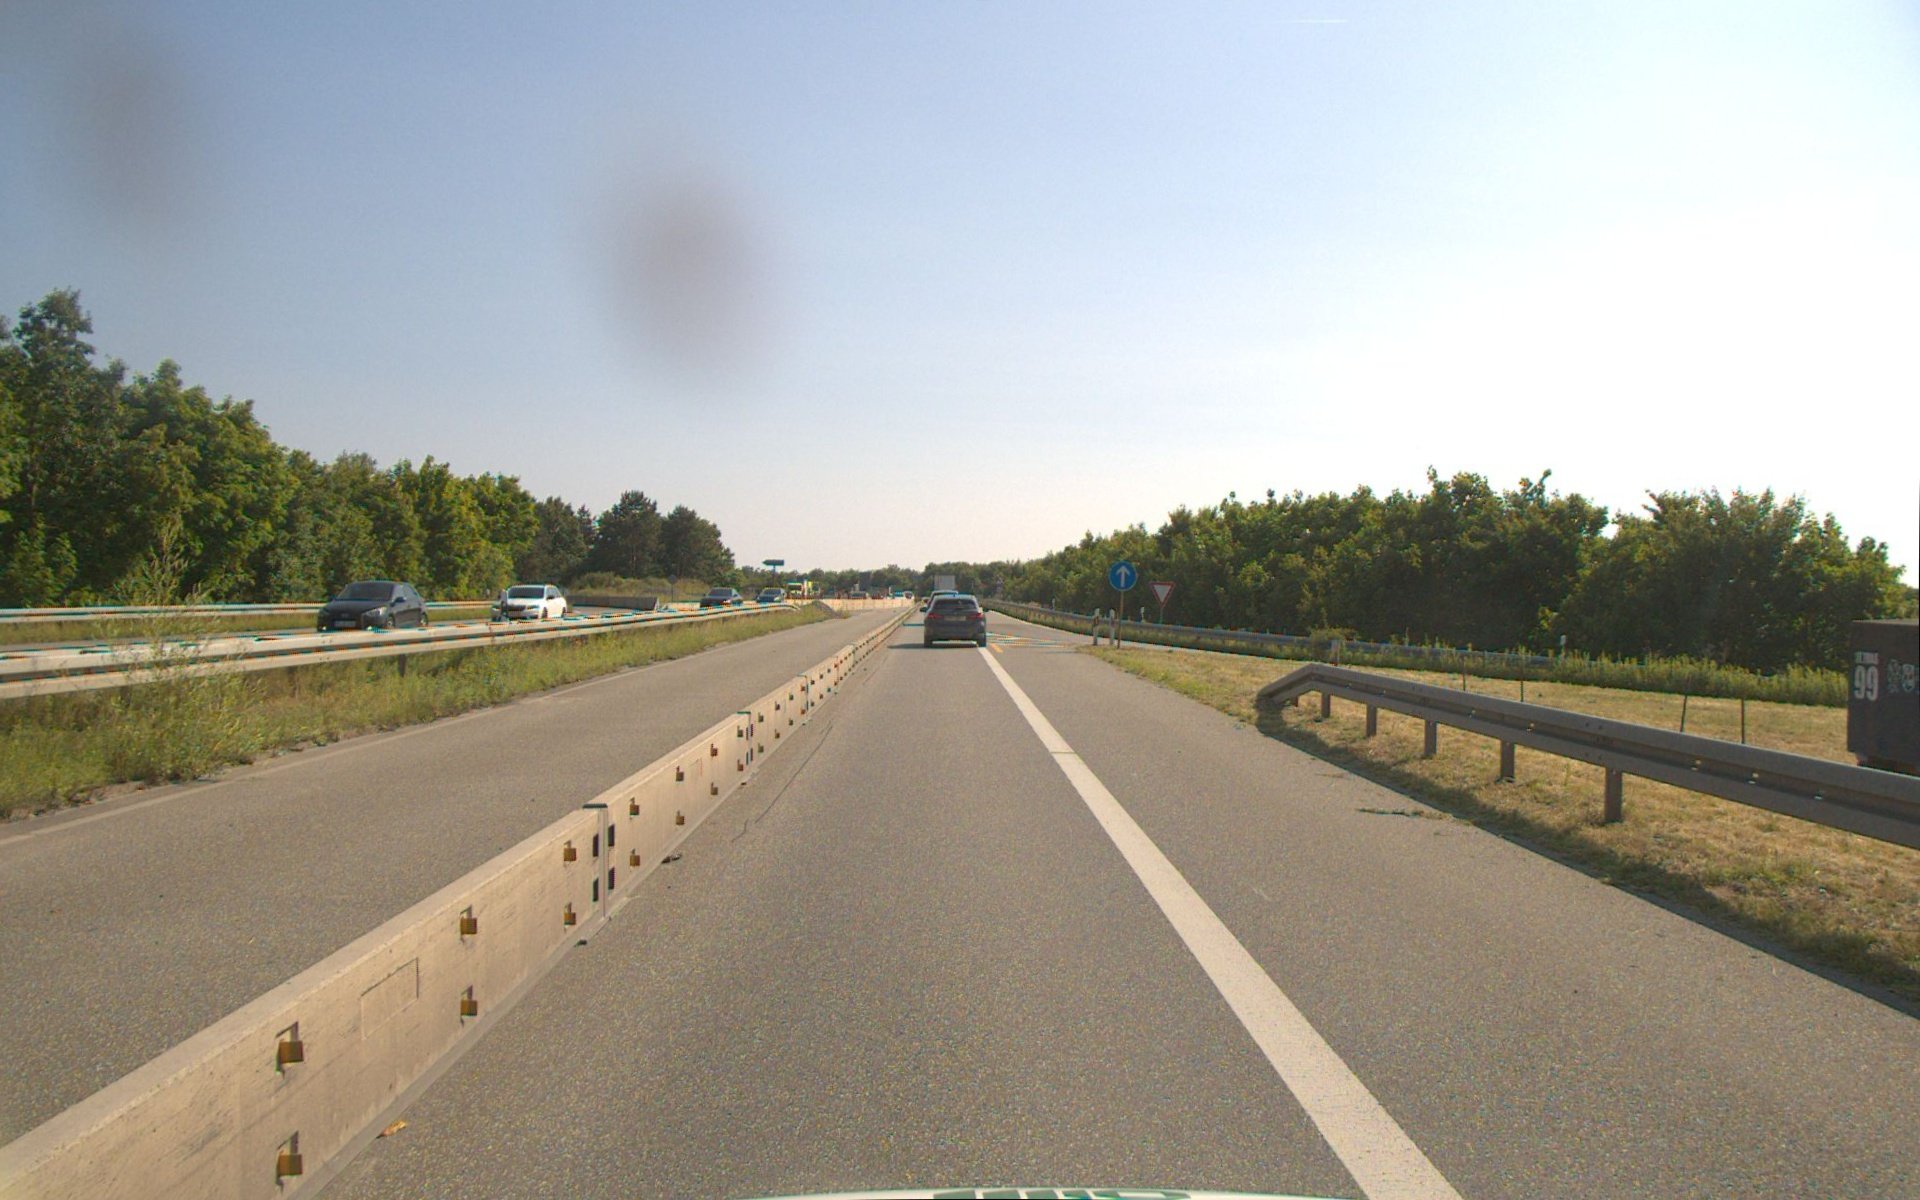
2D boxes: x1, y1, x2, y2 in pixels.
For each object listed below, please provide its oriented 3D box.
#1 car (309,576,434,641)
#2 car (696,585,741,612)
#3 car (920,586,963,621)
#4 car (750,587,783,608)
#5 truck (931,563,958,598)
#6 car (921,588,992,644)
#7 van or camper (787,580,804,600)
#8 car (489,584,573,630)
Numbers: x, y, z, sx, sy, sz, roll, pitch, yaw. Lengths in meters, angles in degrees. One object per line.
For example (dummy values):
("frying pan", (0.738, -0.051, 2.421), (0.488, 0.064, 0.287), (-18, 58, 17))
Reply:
("car", (-14.660, 0.187, 41.416), (1.703, 1.520, 4.108), (1, 0, -1))
("car", (-14.071, -0.090, 96.699), (1.778, 1.514, 5.024), (1, 0, 1))
("car", (-0.856, 0.131, 78.778), (1.953, 1.594, 4.000), (1, 0, 0))
("car", (-13.882, -0.222, 118.807), (1.760, 1.459, 4.592), (1, 0, 0))
("truck", (-2.384, -2.828, 244.006), (3.685, 4.997, 14.132), (1, 0, -2))
("car", (-0.140, 0.433, 47.415), (1.882, 1.520, 3.998), (0, 0, -2))
("van or camper", (-20.425, -1.280, 205.687), (1.955, 2.419, 6.192), (-2, 0, -7))
("car", (-14.775, 0.211, 57.149), (1.724, 1.496, 4.793), (2, 0, -2))
